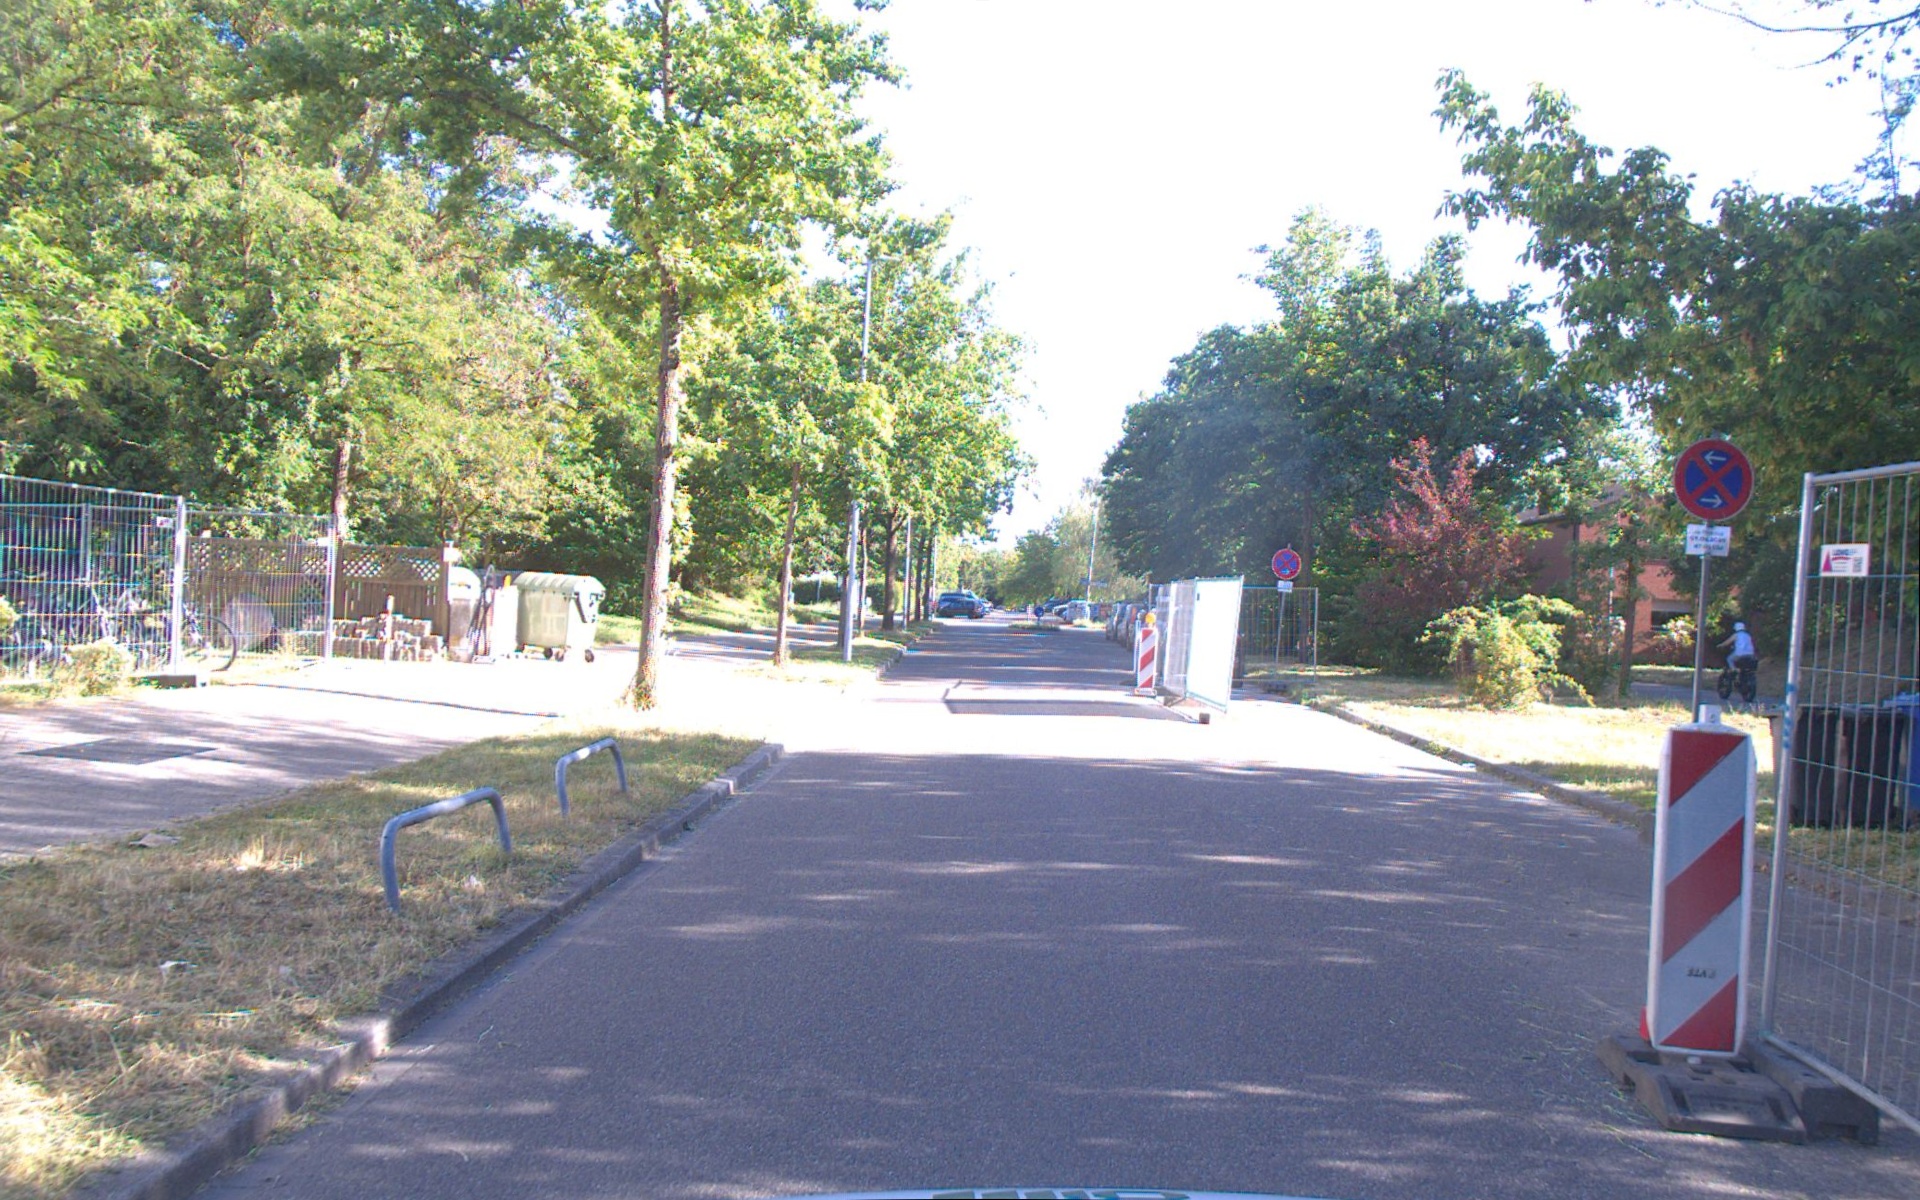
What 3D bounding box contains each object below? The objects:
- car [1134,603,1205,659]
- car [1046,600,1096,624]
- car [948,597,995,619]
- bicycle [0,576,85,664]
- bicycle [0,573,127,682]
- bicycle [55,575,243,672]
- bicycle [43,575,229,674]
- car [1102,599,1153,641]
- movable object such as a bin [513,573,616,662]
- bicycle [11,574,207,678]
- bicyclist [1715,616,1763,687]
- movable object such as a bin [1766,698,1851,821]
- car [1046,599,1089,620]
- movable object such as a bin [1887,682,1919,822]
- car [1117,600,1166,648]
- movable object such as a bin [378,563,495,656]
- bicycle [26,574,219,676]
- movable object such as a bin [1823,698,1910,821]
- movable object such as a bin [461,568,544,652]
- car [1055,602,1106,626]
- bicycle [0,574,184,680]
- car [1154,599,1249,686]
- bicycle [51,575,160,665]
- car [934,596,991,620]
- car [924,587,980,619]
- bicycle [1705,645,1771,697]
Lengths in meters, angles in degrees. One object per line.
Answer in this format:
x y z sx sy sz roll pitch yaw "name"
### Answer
6.827 0.987 54.194 1.739 1.649 4.064 4 0 0 "car"
8.786 0.986 131.123 3.758 1.604 1.690 4 0 8 "car"
1.079 0.728 149.359 4.021 1.604 1.959 4 0 4 "car"
-11.513 0.240 20.393 0.391 1.045 1.701 2 -1 4 "bicycle"
-9.435 0.258 16.586 1.835 1.045 0.399 3 -1 -11 "bicycle"
-9.470 0.279 19.362 1.880 1.045 0.399 3 -1 -11 "bicycle"
-9.389 0.285 18.895 1.805 1.045 0.399 3 -1 -11 "bicycle"
7.951 0.913 78.887 1.755 1.816 4.555 4 0 -1 "car"
-6.798 0.299 28.460 1.242 1.460 1.182 2 0 18 "movable object such as a bin"
-9.236 0.288 17.996 1.805 1.045 0.399 3 -1 -11 "bicycle"
17.222 1.133 36.565 0.619 1.526 0.840 3 0 1 "bicyclist"
6.409 1.198 12.512 0.404 0.885 0.484 1 -1 2 "movable object such as a bin"
10.005 0.871 153.714 3.758 1.604 1.690 4 0 8 "car"
7.397 1.145 12.448 0.508 1.017 0.608 1 -1 2 "movable object such as a bin"
7.396 0.961 67.708 1.590 1.804 3.670 4 0 2 "car"
-8.633 0.150 27.303 1.245 1.460 1.323 2 0 30 "movable object such as a bin"
-9.329 0.287 18.471 1.826 1.045 0.399 3 -1 -11 "bicycle"
6.893 1.205 12.592 0.404 0.885 0.484 1 -1 2 "movable object such as a bin"
-8.345 0.179 30.149 1.130 1.460 1.260 2 0 -32 "movable object such as a bin"
9.341 1.075 128.280 3.758 1.604 1.690 4 0 8 "car"
-9.276 0.288 17.524 1.822 1.045 0.399 3 -1 -11 "bicycle"
5.261 0.895 36.527 1.772 1.679 4.423 4 0 6 "car"
-10.511 0.253 20.401 0.391 1.045 1.700 2 -1 1 "bicycle"
0.215 0.658 133.075 4.227 1.604 2.047 4 0 8 "car"
-0.742 0.274 158.372 5.097 2.666 2.292 4 0 -3 "car"
17.196 1.559 36.590 0.619 1.058 1.785 3 0 1 "bicycle"
